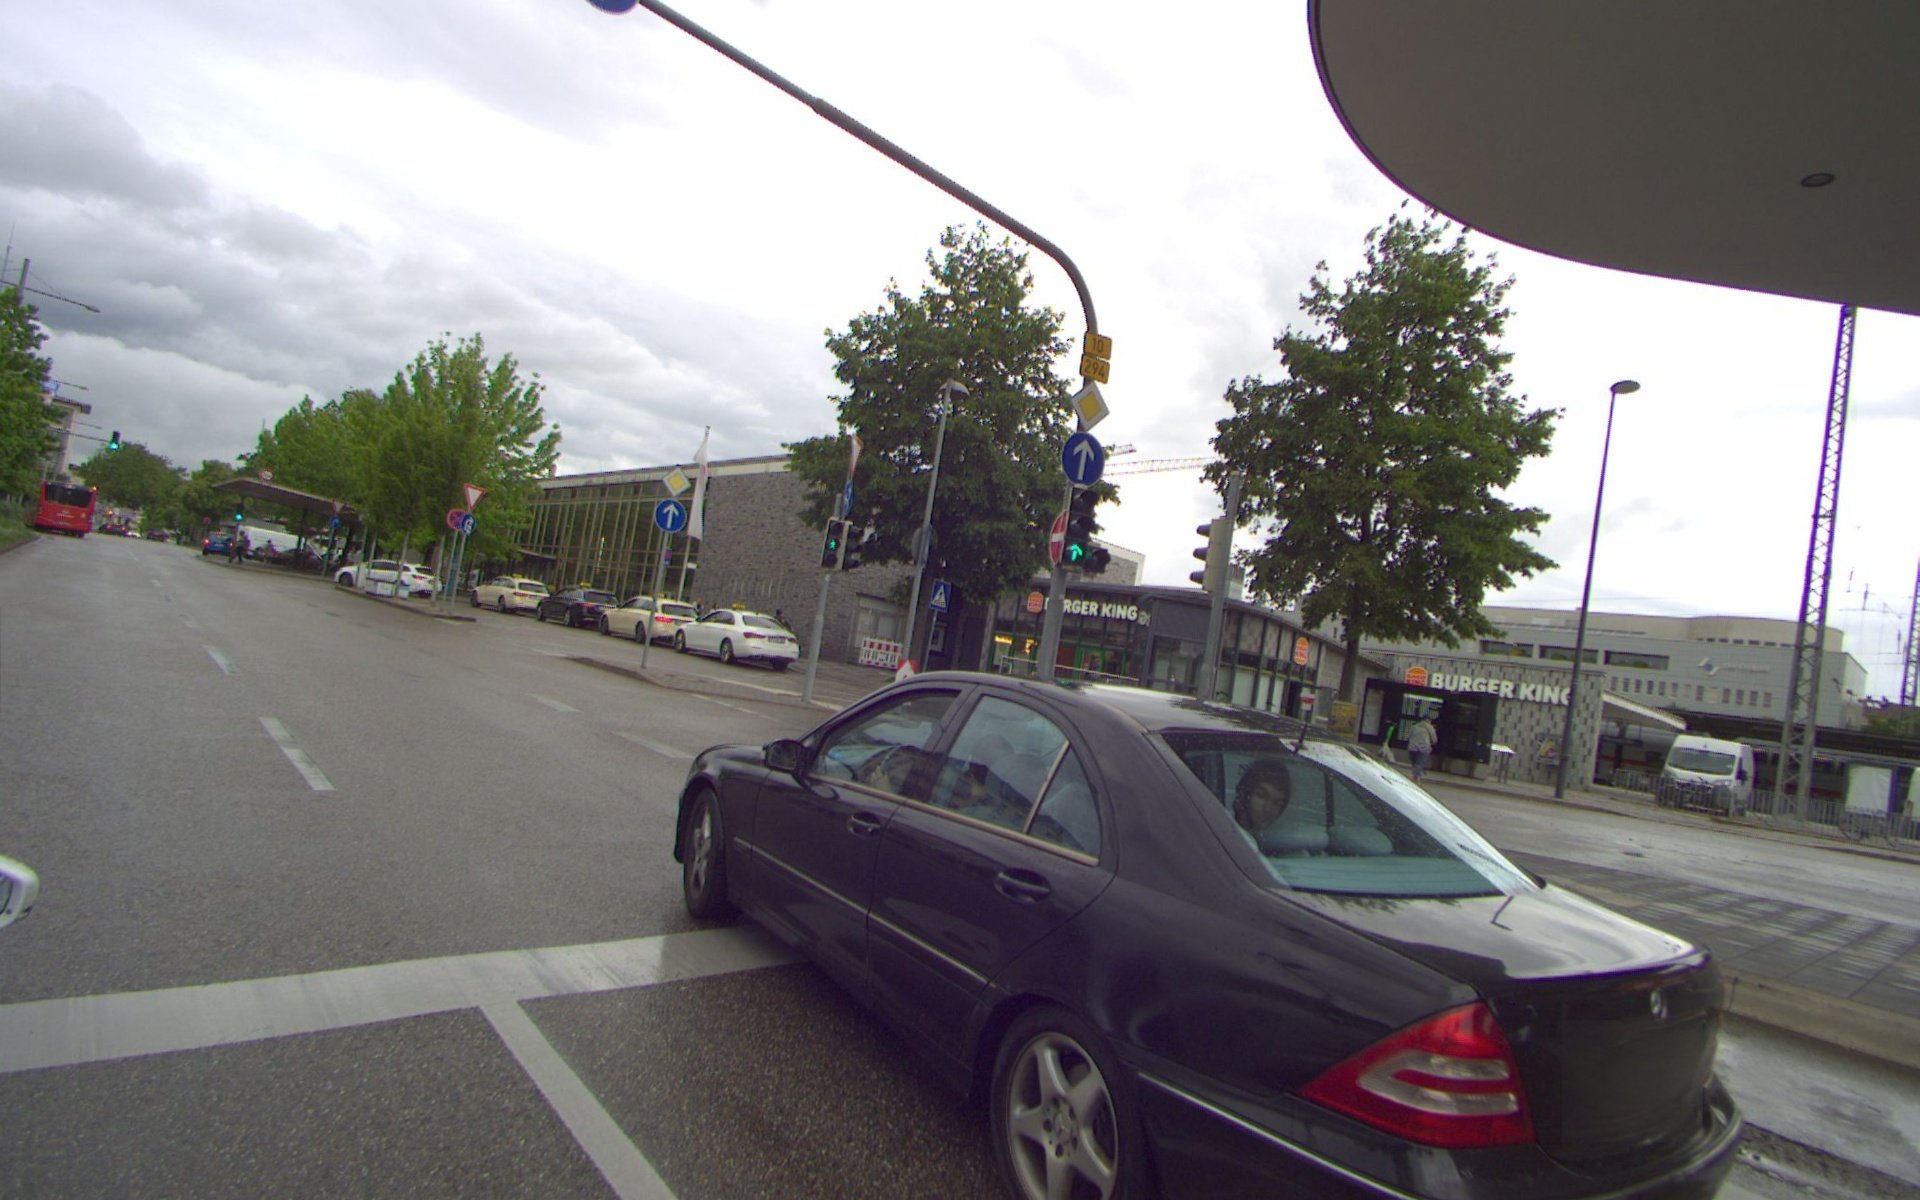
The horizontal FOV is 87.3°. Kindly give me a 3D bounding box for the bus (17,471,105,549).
[{"bbox_3d":[-57.148,-5.588,64.104,3.533,4.025,11.044,8,-2,-41],"label":"bus"}]

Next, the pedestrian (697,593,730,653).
[{"bbox_3d":[-9.531,0.873,38.878,0.790,2.189,0.716,8,-1,-35],"label":"pedestrian"}]

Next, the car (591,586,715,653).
[{"bbox_3d":[-10.095,0.605,32.827,1.986,1.618,4.903,9,-2,-40],"label":"car"}]

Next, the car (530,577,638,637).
[{"bbox_3d":[-14.074,0.212,37.481,1.989,1.617,4.901,11,-4,-41],"label":"car"}]

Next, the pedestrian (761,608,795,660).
[{"bbox_3d":[-6.148,1.158,34.084,0.782,1.645,0.723,7,-1,5],"label":"pedestrian"}]

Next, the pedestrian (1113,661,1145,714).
[{"bbox_3d":[5.723,2.952,34.099,0.709,1.686,0.797,7,-1,-2],"label":"pedestrian"}]

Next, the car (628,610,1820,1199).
[{"bbox_3d":[0.260,0.983,3.972,1.685,1.482,4.412,8,-2,-34],"label":"car"}]

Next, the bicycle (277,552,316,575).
[{"bbox_3d":[-39.379,-2.146,59.687,0.413,1.068,1.831,6,-2,31],"label":"bicycle"}]

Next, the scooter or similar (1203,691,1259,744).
[{"bbox_3d":[7.044,3.044,26.173,1.279,1.196,0.334,7,-1,16],"label":"scooter or similar"}]

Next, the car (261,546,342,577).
[{"bbox_3d":[-44.789,-2.582,68.516,1.809,1.339,4.198,6,-4,29],"label":"car"}]

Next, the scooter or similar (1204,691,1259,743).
[{"bbox_3d":[7.217,3.091,26.748,1.279,1.196,0.334,7,-1,16],"label":"scooter or similar"}]

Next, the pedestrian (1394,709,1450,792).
[{"bbox_3d":[9.568,3.102,20.852,0.824,1.547,0.638,7,-1,19],"label":"pedestrian"}]

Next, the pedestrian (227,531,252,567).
[{"bbox_3d":[-38.506,-2.717,53.746,0.824,1.766,0.746,5,-3,41],"label":"pedestrian"}]

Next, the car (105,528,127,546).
[{"bbox_3d":[-109.796,-8.167,130.942,1.986,2.037,3.956,8,-2,-40],"label":"car"}]

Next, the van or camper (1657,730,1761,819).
[{"bbox_3d":[25.690,5.906,34.418,2.136,2.461,5.838,6,-3,42],"label":"van or camper"}]

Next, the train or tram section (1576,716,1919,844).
[{"bbox_3d":[48.776,10.163,51.687,4.575,4.230,28.982,9,-3,-40],"label":"train or tram section"}]

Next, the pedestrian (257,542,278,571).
[{"bbox_3d":[-47.225,-2.953,68.558,0.854,1.855,1.177,9,-3,-41],"label":"pedestrian"}]

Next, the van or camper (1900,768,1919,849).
[{"bbox_3d":[32.415,6.789,30.196,1.986,2.461,5.799,8,-2,-40],"label":"van or camper"}]

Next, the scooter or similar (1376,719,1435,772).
[{"bbox_3d":[11.819,3.852,26.723,1.279,1.196,0.334,7,-1,16],"label":"scooter or similar"}]

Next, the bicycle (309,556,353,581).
[{"bbox_3d":[-33.267,-1.674,53.220,1.821,1.068,0.416,9,-2,-41],"label":"bicycle"}]

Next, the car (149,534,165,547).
[{"bbox_3d":[-119.045,-8.826,149.095,1.589,1.578,3.610,9,-2,-40],"label":"car"}]

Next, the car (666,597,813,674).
[{"bbox_3d":[-6.312,0.962,28.406,1.873,1.618,4.849,9,-3,-40],"label":"car"}]

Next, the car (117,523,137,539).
[{"bbox_3d":[-118.647,-9.831,143.218,1.986,2.037,3.956,8,-2,-40],"label":"car"}]

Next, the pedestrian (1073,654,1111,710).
[{"bbox_3d":[4.275,2.662,32.640,0.715,1.686,0.791,8,-1,-30],"label":"pedestrian"}]

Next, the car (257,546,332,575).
[{"bbox_3d":[-47.106,-2.767,71.299,1.830,1.373,4.006,7,-4,19],"label":"car"}]

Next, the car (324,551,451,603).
[{"bbox_3d":[-25.434,-1.011,44.742,4.685,1.563,1.767,7,-3,10],"label":"car"}]

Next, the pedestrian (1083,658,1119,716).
[{"bbox_3d":[4.321,2.655,30.820,0.764,1.688,0.645,7,1,27],"label":"pedestrian"}]

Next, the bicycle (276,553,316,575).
[{"bbox_3d":[-39.105,-2.123,59.265,0.413,1.068,1.831,6,-2,31],"label":"bicycle"}]

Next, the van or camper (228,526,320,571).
[{"bbox_3d":[-57.363,-4.284,84.301,2.158,2.794,5.969,6,-2,22],"label":"van or camper"}]

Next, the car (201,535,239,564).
[{"bbox_3d":[-50.003,-3.383,68.021,1.850,1.586,3.962,10,-4,-36],"label":"car"}]

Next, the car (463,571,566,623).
[{"bbox_3d":[-18.652,-0.155,42.031,4.890,1.618,1.992,6,-2,42],"label":"car"}]

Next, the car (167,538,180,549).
[{"bbox_3d":[-150.739,-10.822,192.803,1.639,1.680,3.610,8,-2,-40],"label":"car"}]

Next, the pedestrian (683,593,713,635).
[{"bbox_3d":[-10.570,0.564,40.555,0.767,1.598,0.702,8,-2,-44],"label":"pedestrian"}]
